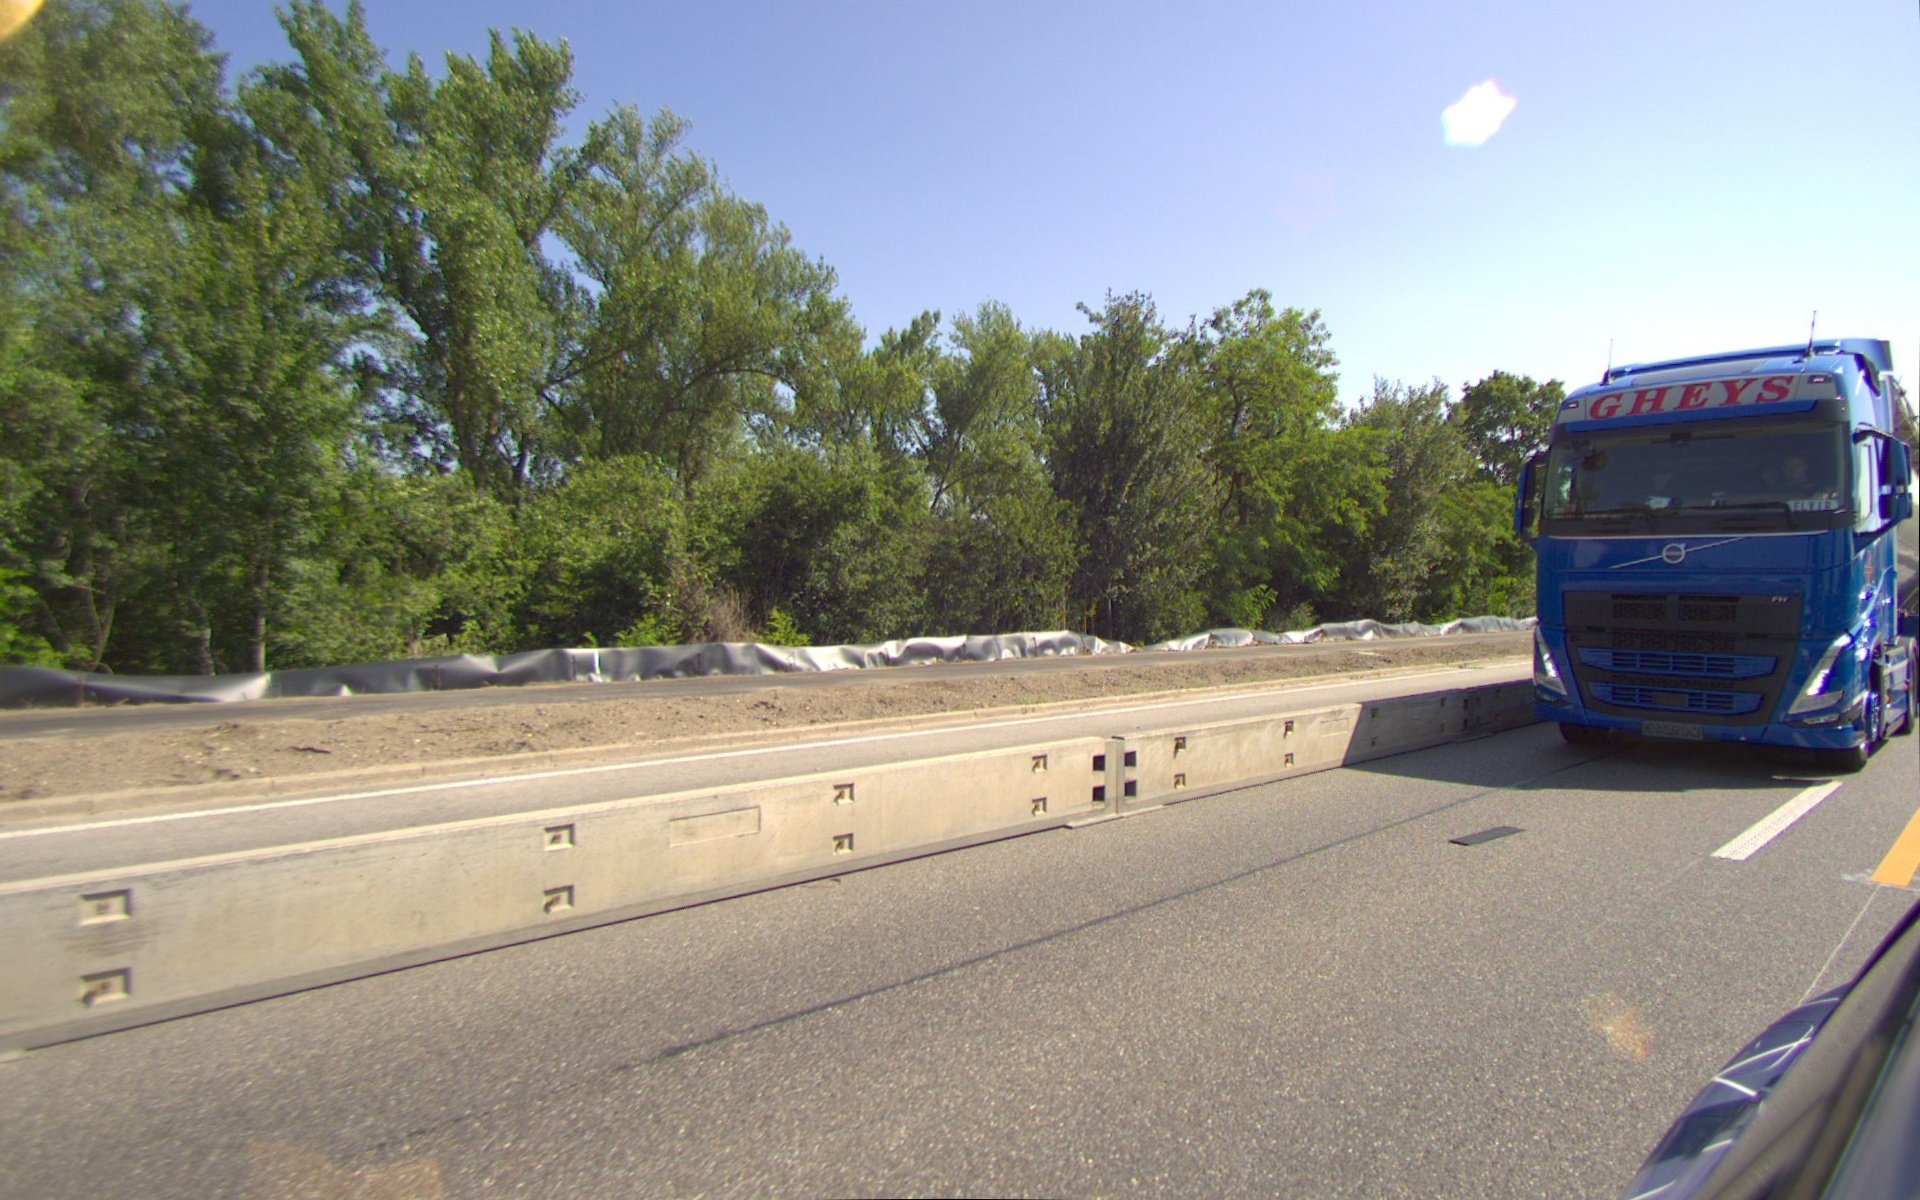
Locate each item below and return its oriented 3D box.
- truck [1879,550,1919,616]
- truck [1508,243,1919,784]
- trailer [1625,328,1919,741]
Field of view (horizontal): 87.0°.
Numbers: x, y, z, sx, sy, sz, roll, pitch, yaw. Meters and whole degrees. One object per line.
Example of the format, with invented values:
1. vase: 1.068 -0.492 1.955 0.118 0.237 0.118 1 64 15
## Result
1. truck: 61.916 -1.048 65.829 2.853 4.033 8.535 4 3 41
2. truck: 9.001 -0.709 11.182 7.173 4.152 2.700 0 3 -41
3. trailer: 13.571 -0.712 15.297 12.397 4.188 2.699 0 3 -42
